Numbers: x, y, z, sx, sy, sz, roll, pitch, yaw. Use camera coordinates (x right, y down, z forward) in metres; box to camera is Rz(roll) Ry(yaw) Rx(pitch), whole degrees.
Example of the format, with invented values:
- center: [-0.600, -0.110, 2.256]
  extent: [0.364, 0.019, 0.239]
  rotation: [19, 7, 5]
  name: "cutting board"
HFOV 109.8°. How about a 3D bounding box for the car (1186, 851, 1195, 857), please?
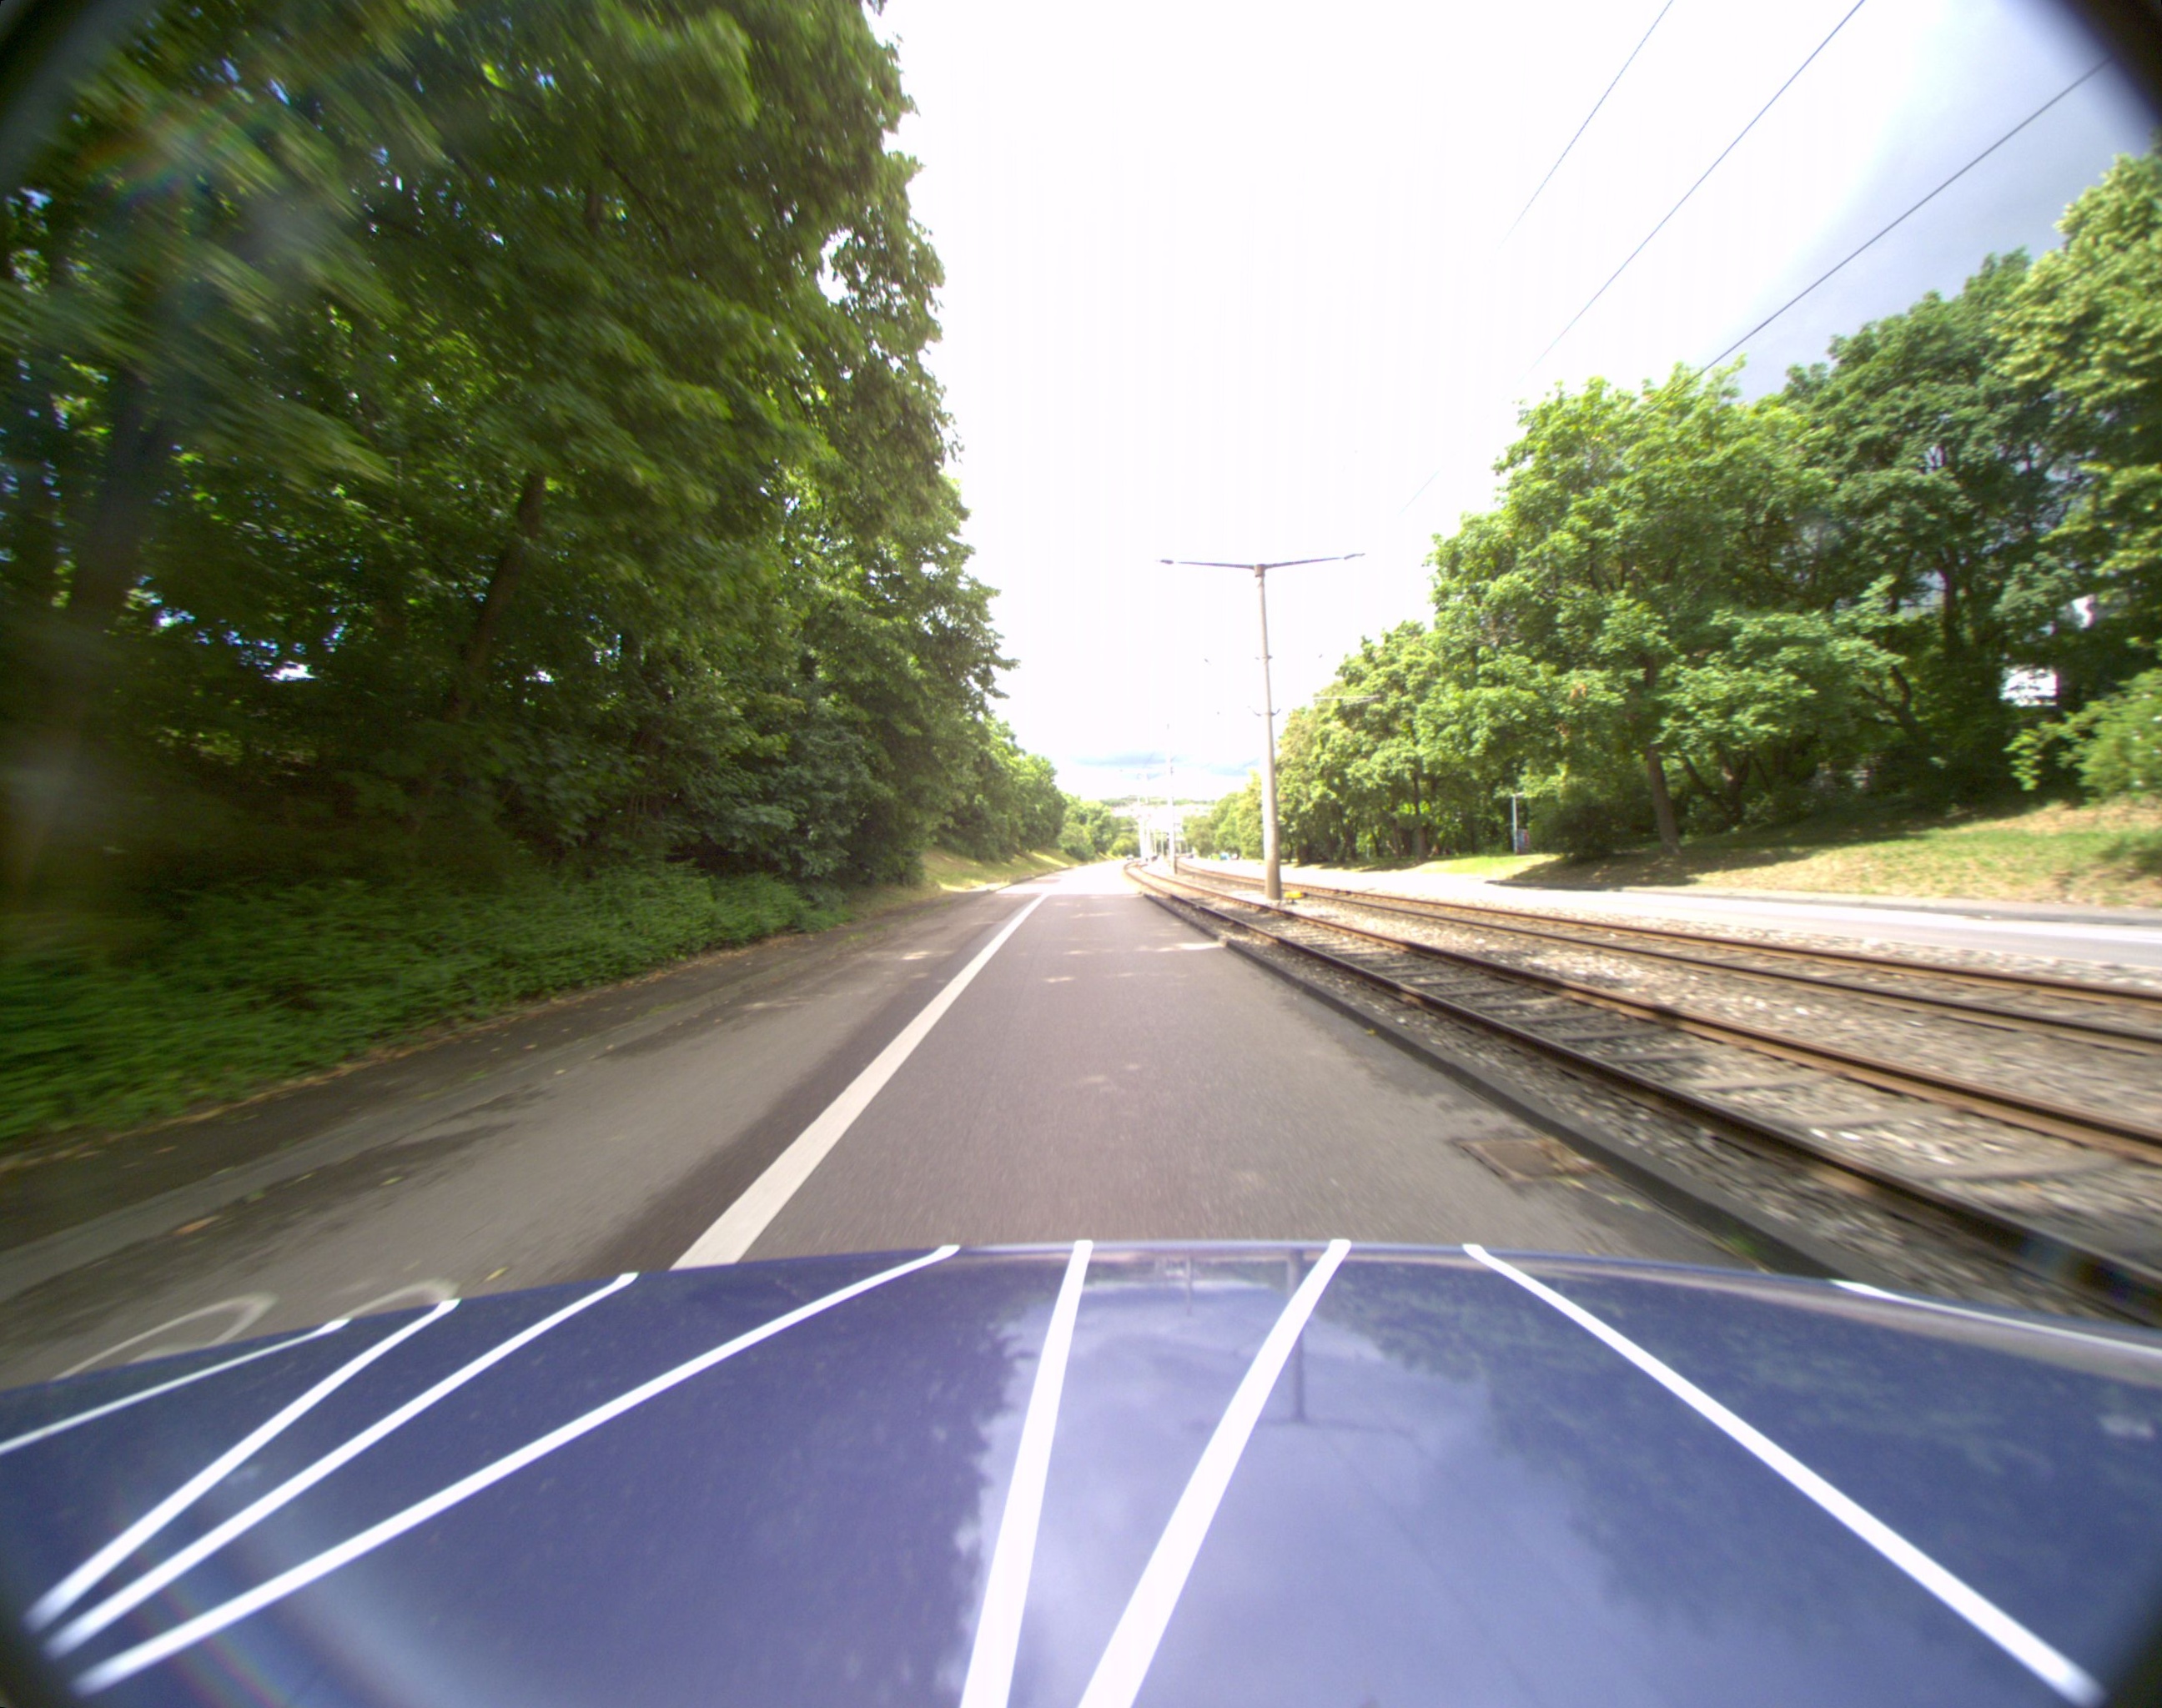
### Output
- center: [25.922, 0.073, 180.324]
  extent: [1.839, 1.383, 4.863]
  rotation: [0, 0, 4]
  name: "car"
